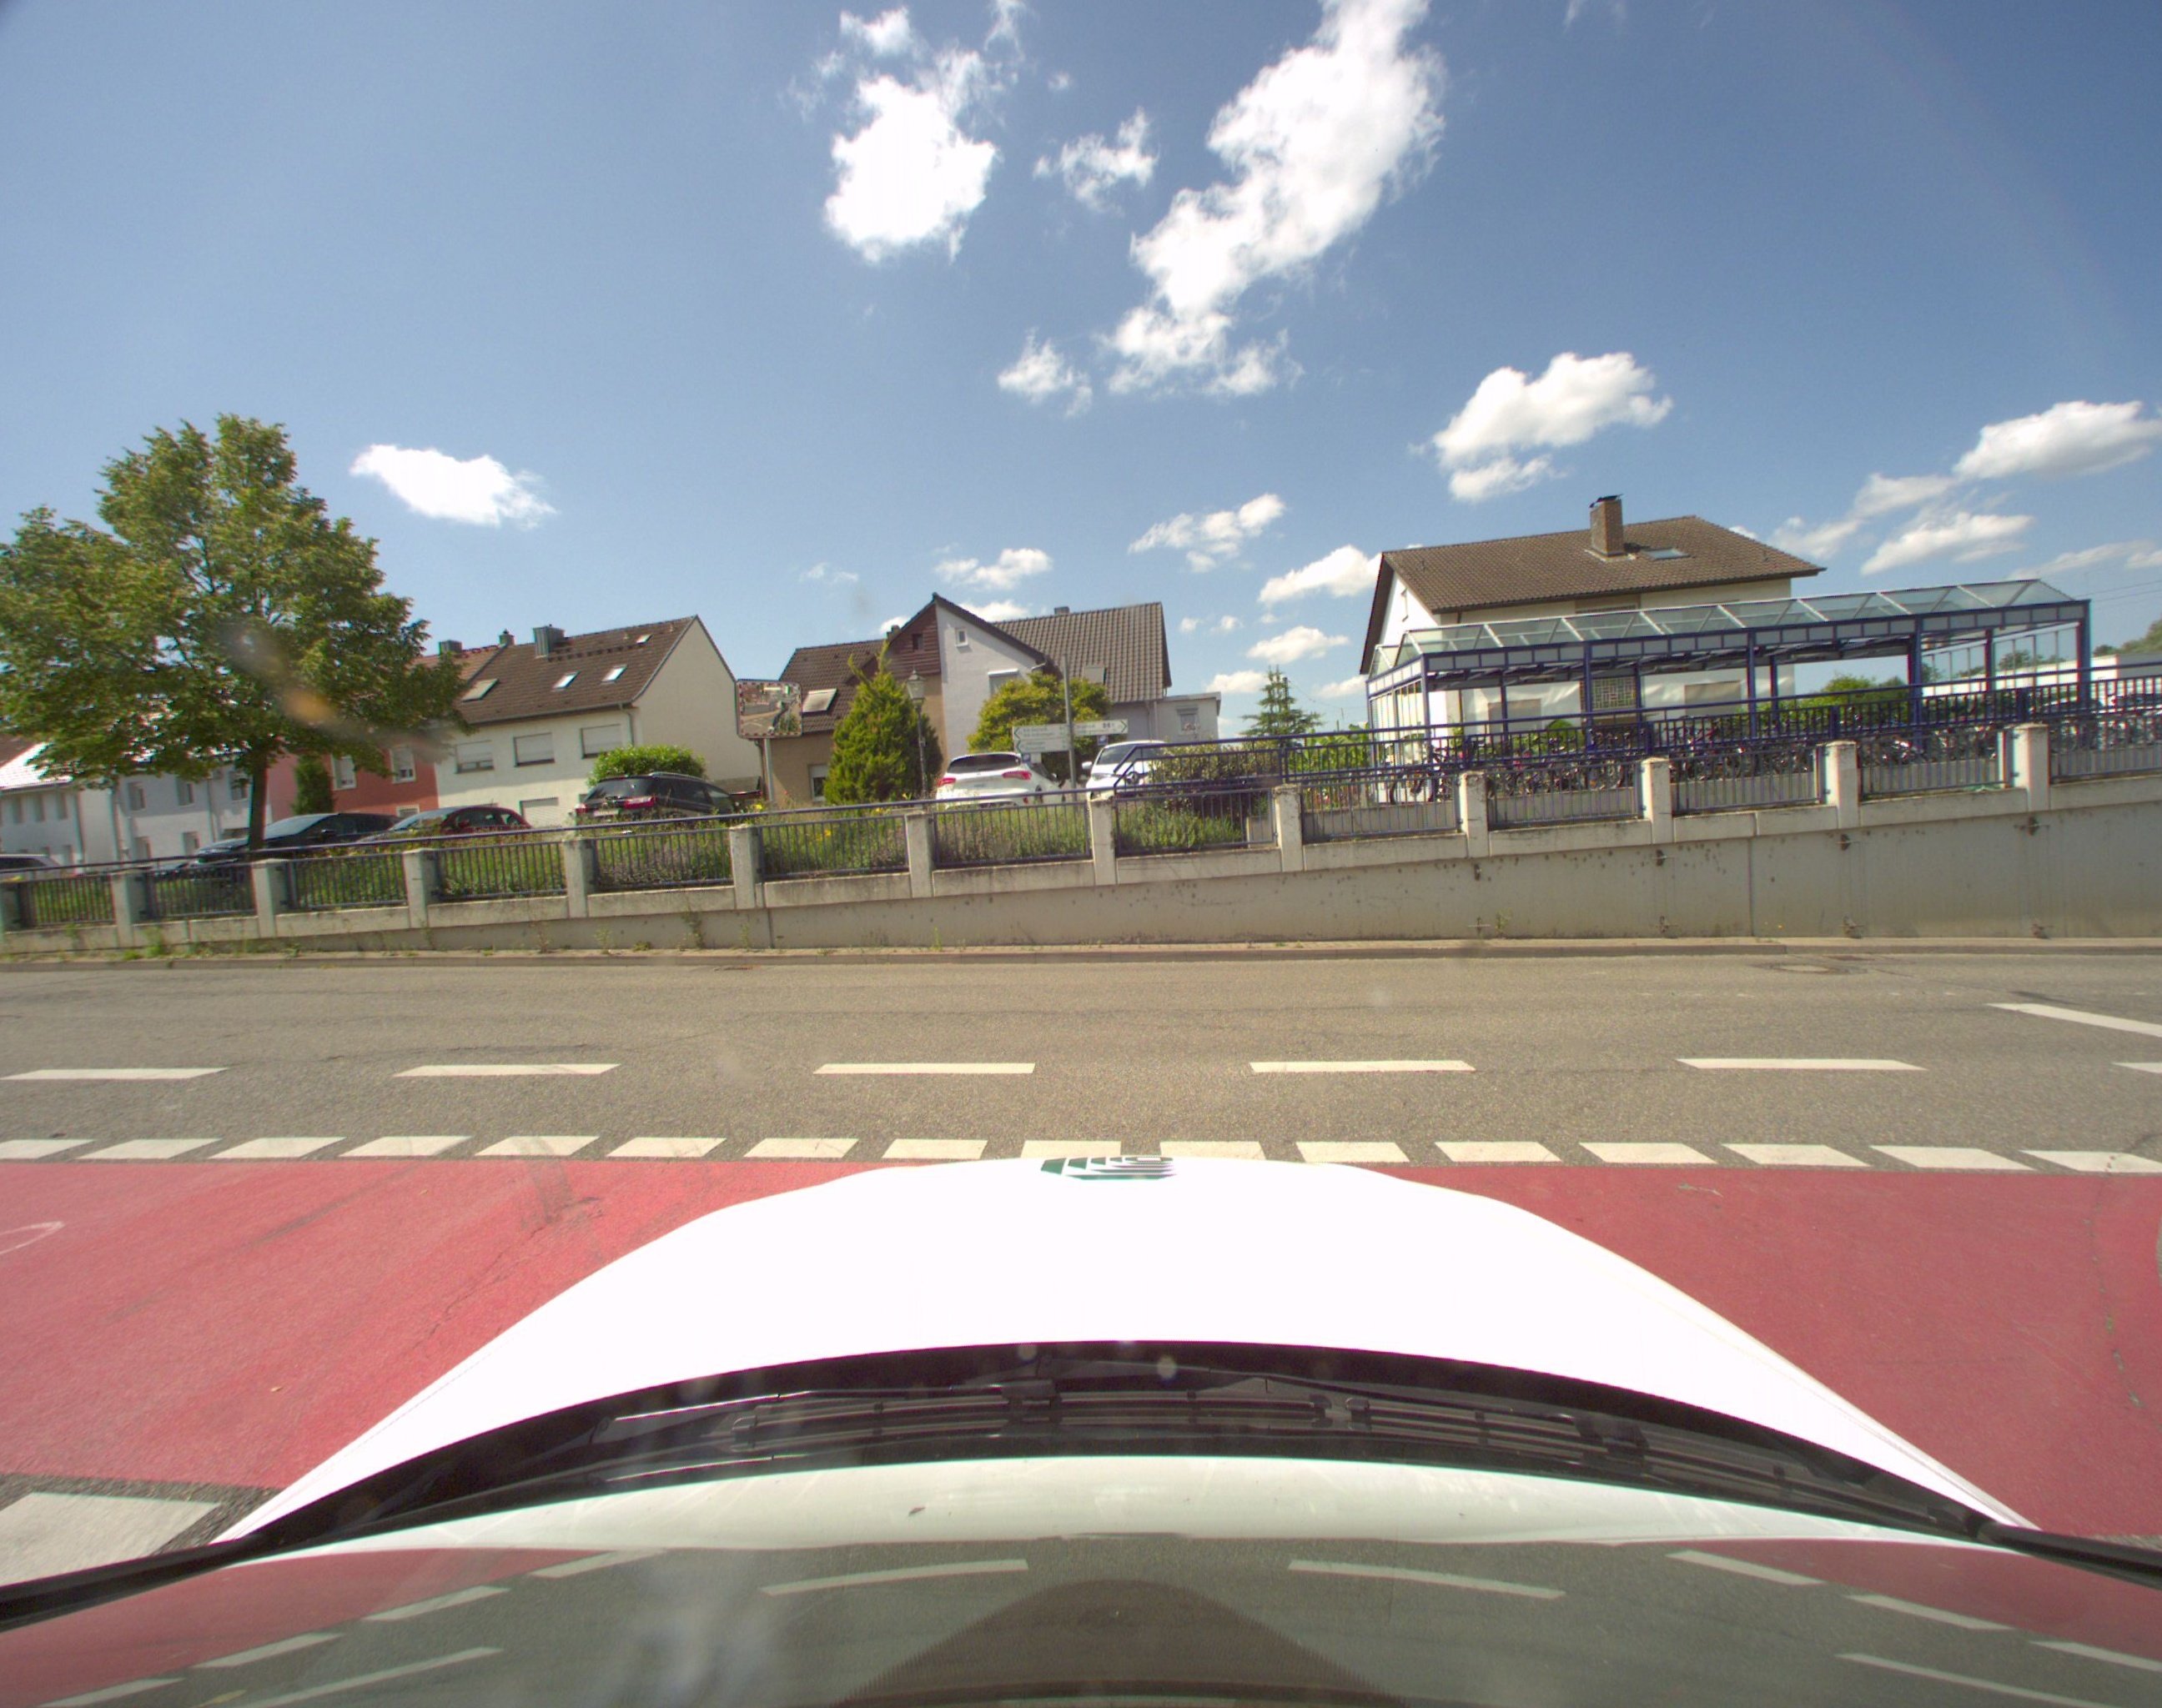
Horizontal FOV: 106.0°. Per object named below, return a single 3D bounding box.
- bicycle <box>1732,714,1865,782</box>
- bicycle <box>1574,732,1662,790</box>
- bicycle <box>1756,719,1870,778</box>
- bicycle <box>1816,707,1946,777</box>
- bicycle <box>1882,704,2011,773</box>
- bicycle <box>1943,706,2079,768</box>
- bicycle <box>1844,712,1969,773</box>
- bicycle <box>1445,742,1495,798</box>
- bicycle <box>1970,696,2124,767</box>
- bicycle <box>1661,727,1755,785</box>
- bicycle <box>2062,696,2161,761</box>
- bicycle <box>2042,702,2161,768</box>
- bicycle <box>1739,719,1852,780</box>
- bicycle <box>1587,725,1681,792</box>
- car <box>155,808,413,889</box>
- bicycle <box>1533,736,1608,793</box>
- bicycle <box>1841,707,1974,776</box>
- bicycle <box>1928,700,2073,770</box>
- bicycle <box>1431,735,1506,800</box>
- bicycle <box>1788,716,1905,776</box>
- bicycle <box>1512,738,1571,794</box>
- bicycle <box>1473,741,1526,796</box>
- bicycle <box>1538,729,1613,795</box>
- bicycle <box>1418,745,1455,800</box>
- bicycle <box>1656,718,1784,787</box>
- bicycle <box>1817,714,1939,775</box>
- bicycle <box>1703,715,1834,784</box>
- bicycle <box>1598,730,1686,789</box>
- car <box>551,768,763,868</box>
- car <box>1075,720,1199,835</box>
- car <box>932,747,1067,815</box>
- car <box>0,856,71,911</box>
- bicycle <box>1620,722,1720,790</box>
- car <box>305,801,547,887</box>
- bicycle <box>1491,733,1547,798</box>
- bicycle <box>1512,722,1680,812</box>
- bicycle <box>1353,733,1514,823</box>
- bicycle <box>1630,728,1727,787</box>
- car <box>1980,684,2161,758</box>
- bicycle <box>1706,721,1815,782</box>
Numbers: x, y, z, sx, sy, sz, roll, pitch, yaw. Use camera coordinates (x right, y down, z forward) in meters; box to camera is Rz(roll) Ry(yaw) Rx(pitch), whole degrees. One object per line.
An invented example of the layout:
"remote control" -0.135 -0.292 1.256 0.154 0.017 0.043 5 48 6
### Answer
"bicycle" 12.583 -1.821 14.386 0.530 0.994 2.191 -3 3 4
"bicycle" 10.614 -1.812 16.185 0.471 0.994 1.967 -3 3 2
"bicycle" 14.512 -2.064 16.218 0.517 0.994 1.967 -3 3 2
"bicycle" 13.530 -1.857 13.860 0.574 0.994 2.198 -3 3 15
"bicycle" 14.999 -1.967 14.188 0.512 0.994 2.047 -3 3 14
"bicycle" 18.088 -2.245 15.917 0.540 0.994 2.044 -3 3 8
"bicycle" 16.252 -2.170 16.102 0.517 0.994 1.967 -3 3 2
"bicycle" 7.645 -1.617 16.078 0.370 0.994 1.972 -3 3 11
"bicycle" 16.543 -2.058 14.025 0.540 0.994 2.046 -3 3 11
"bicycle" 12.476 -1.936 16.275 0.517 0.994 1.803 -3 3 2
"bicycle" 18.470 -2.187 14.146 0.541 0.994 2.042 -3 3 5
"bicycle" 18.390 -2.091 14.331 0.435 0.994 2.163 -3 3 1
"bicycle" 13.942 -2.016 15.973 0.517 0.994 1.967 -3 3 2
"bicycle" 9.570 -1.618 14.182 0.433 0.994 2.288 -3 3 10
"car" -17.093 -0.136 17.741 1.857 1.586 3.617 0 1 7
"bicycle" 9.779 -1.766 16.347 0.424 0.994 1.969 -3 3 5
"bicycle" 14.300 -1.921 14.170 0.512 0.994 2.045 -3 3 9
"bicycle" 15.727 -2.005 14.007 0.512 0.994 2.046 -3 3 11
"bicycle" 6.773 -1.479 14.323 0.331 0.994 2.077 -3 3 1
"bicycle" 15.120 -2.100 16.160 0.517 0.994 1.967 -3 3 2
"bicycle" 9.134 -1.719 16.219 0.370 0.994 1.972 -3 3 11
"bicycle" 8.420 -1.683 16.445 0.370 0.994 1.972 -3 3 11
"bicycle" 8.448 -1.537 13.985 0.432 0.994 2.110 -3 3 13
"bicycle" 6.948 -1.567 15.966 0.451 0.994 1.897 -3 3 18
"bicycle" 10.906 -1.696 14.015 0.530 0.994 2.284 -3 3 4
"bicycle" 15.704 -2.135 16.115 0.517 0.994 1.967 -3 3 2
"bicycle" 11.886 -1.767 14.180 0.530 0.994 2.191 -3 3 4
"bicycle" 11.088 -1.841 16.158 0.412 0.994 1.967 -3 3 2
"car" -8.422 -0.679 16.652 1.857 1.797 4.008 0 1 7
"car" 1.160 -1.268 15.144 1.983 1.797 4.205 0 1 7
"car" -1.407 -1.301 15.410 1.815 1.019 3.467 0 1 7
"car" -31.195 0.855 22.175 1.730 1.488 4.273 0 1 14
"bicycle" 10.149 -1.653 14.135 0.433 0.994 2.288 -3 3 10
"car" -13.382 -0.217 16.957 1.857 1.586 3.617 0 1 7
"bicycle" 7.419 -1.465 13.856 0.432 0.994 2.112 -3 3 18
"bicycle" 7.308 -1.221 11.592 2.108 1.125 0.392 -4 2 0
"bicycle" 5.012 -1.074 11.599 2.108 1.125 0.333 -4 2 0
"bicycle" 11.801 -1.888 16.168 0.517 0.994 1.967 -3 3 2
"car" 30.024 -3.924 24.281 1.989 1.677 3.998 -4 3 -2
"bicycle" 13.208 -1.966 15.915 0.517 0.994 1.967 -3 3 2
